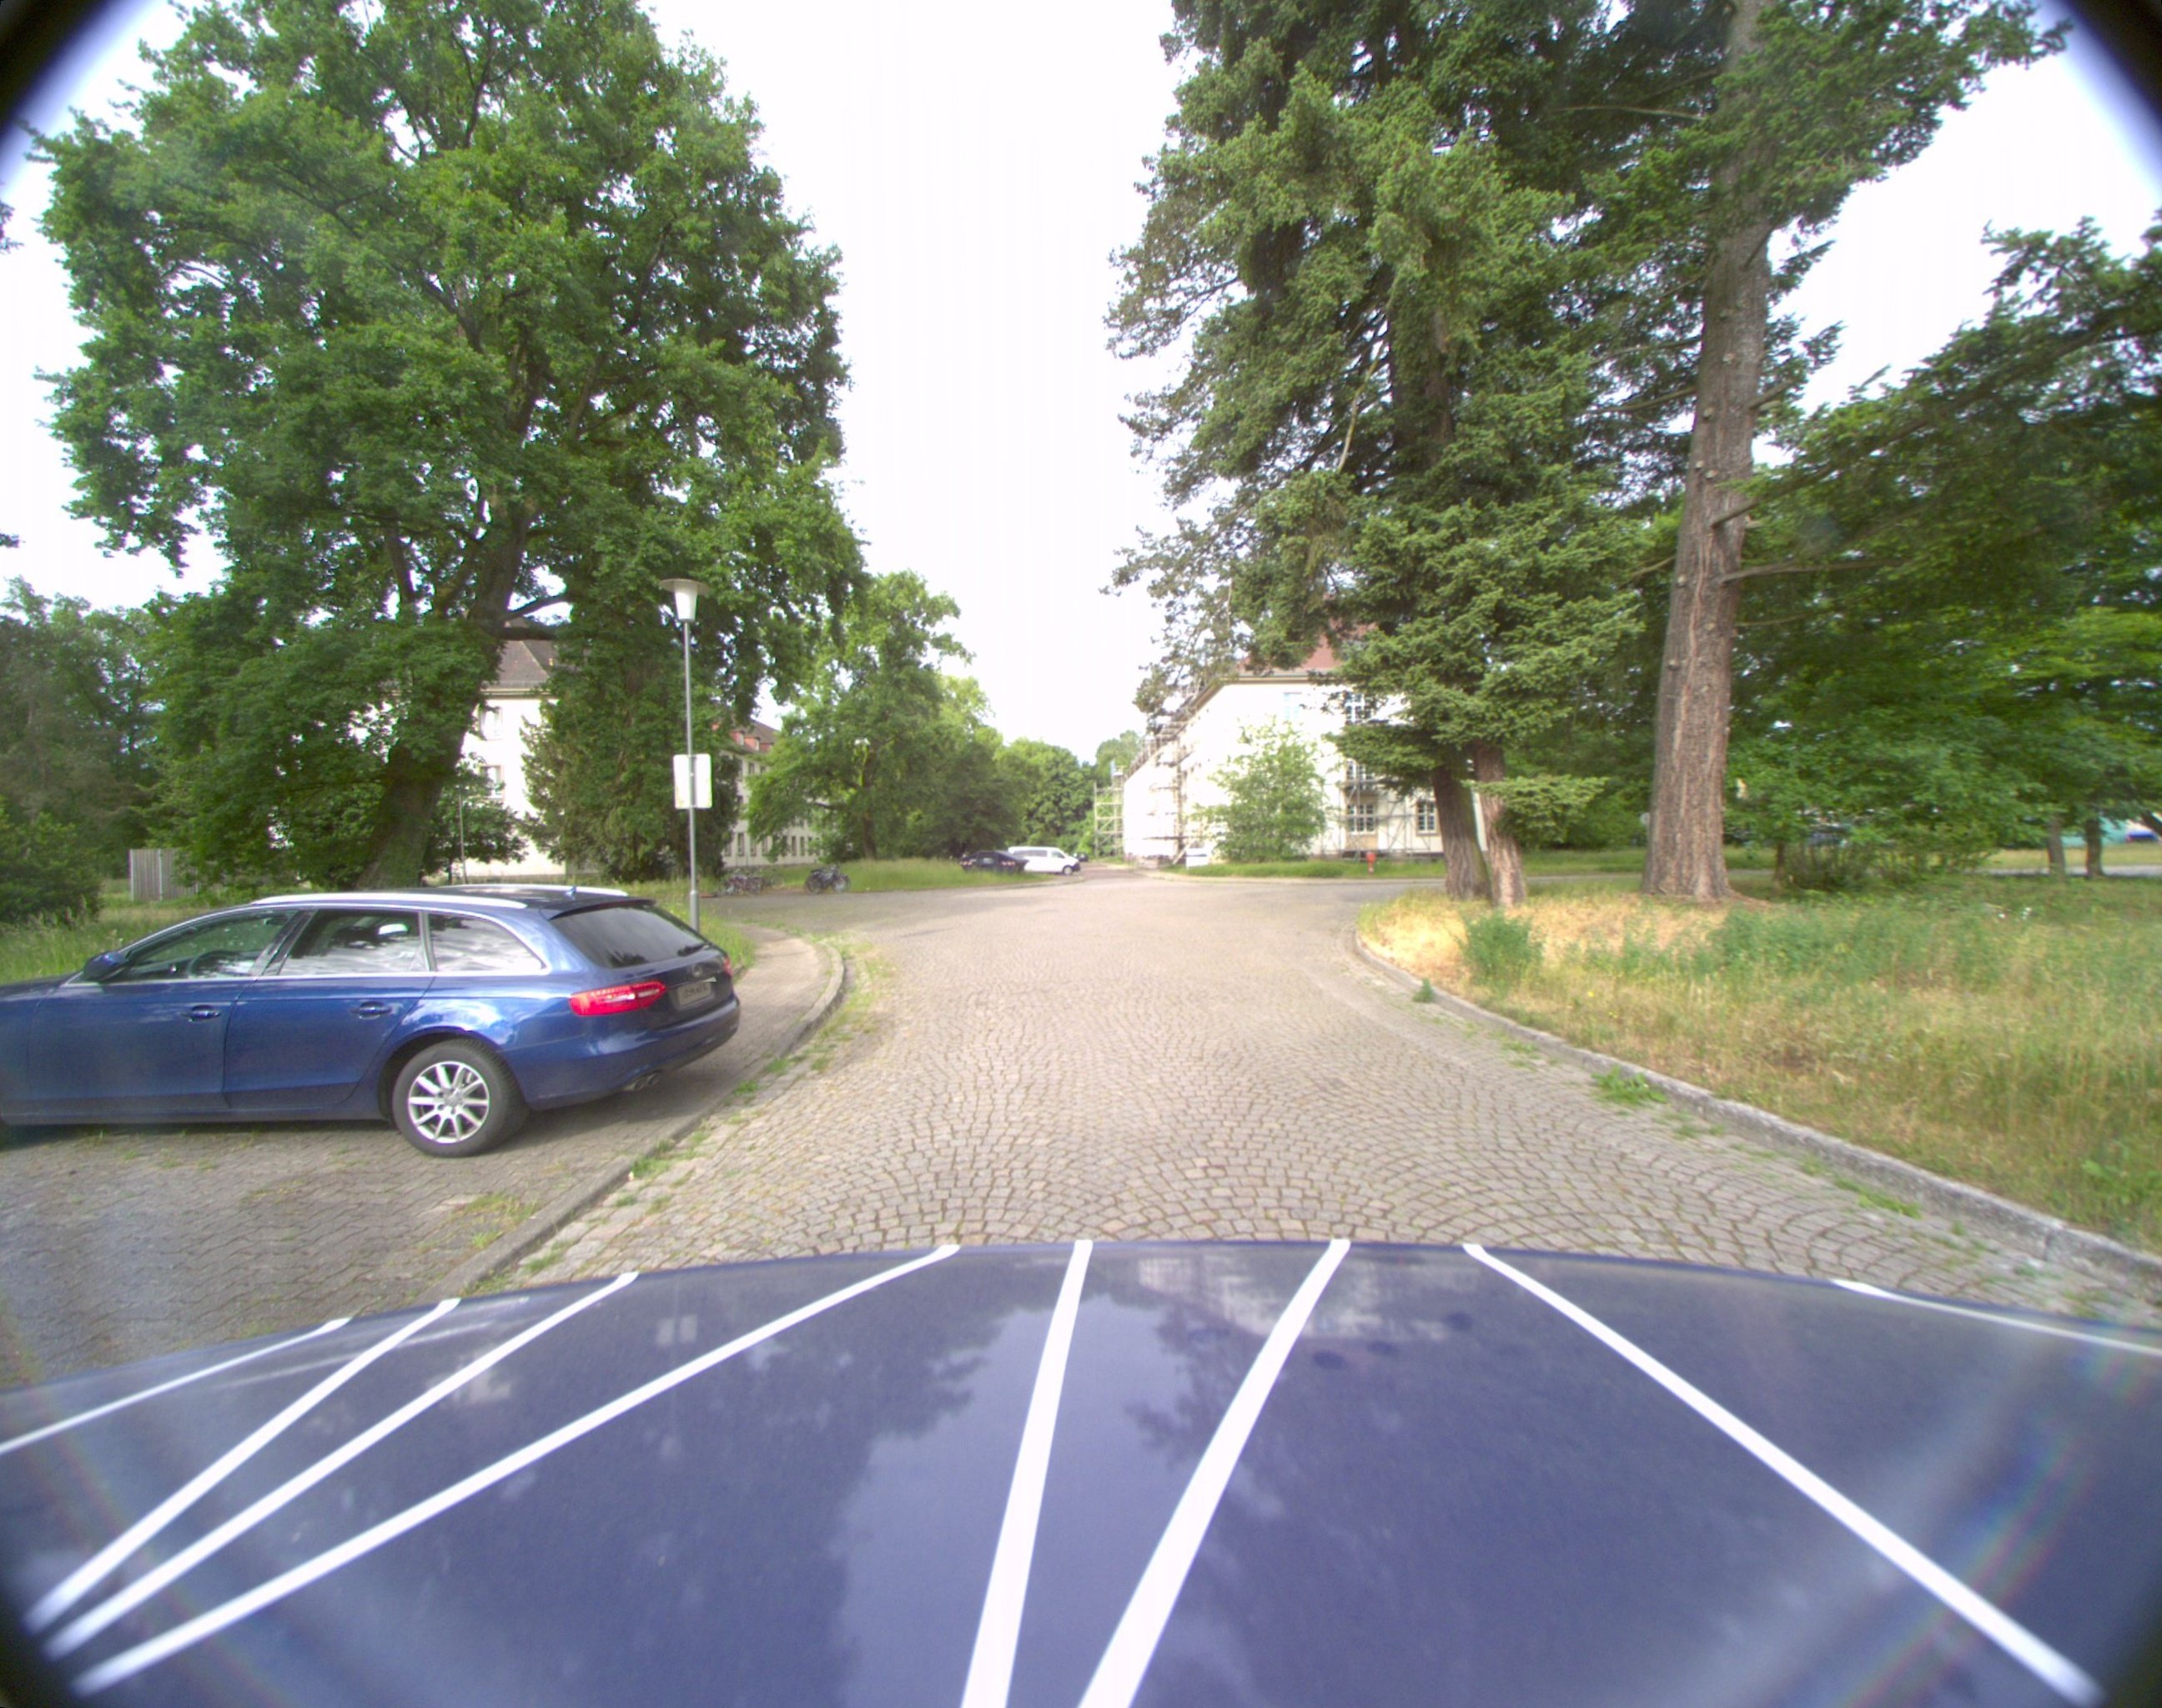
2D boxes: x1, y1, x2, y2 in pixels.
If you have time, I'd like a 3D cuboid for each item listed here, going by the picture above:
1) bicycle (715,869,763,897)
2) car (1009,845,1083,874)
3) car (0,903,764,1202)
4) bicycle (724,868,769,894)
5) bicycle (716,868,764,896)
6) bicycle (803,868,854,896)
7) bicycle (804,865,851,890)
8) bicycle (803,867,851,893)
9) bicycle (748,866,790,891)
[{"bbox_3d":[-14.924,1.248,33.181,1.860,1.116,0.620,-3,1,-25],"label":"bicycle"},{"bbox_3d":[-2.464,0.372,53.793,5.102,2.007,2.054,0,1,-4],"label":"car"},{"bbox_3d":[-4.636,1.091,4.822,4.481,1.413,1.784,0,1,1],"label":"car"},{"bbox_3d":[-15.580,1.246,35.424,1.860,1.116,0.620,-3,1,-25],"label":"bicycle"},{"bbox_3d":[-15.151,1.249,33.782,1.860,1.116,0.620,-3,1,-25],"label":"bicycle"},{"bbox_3d":[-11.008,1.207,33.125,1.976,1.070,0.587,-3,1,-30],"label":"bicycle"},{"bbox_3d":[-12.258,1.128,36.758,2.032,1.070,0.620,-3,1,-25],"label":"bicycle"},{"bbox_3d":[-11.591,1.176,34.681,1.976,1.070,0.587,-3,1,-30],"label":"bicycle"},{"bbox_3d":[-15.471,1.202,37.649,1.860,1.116,0.620,-3,1,-25],"label":"bicycle"}]
